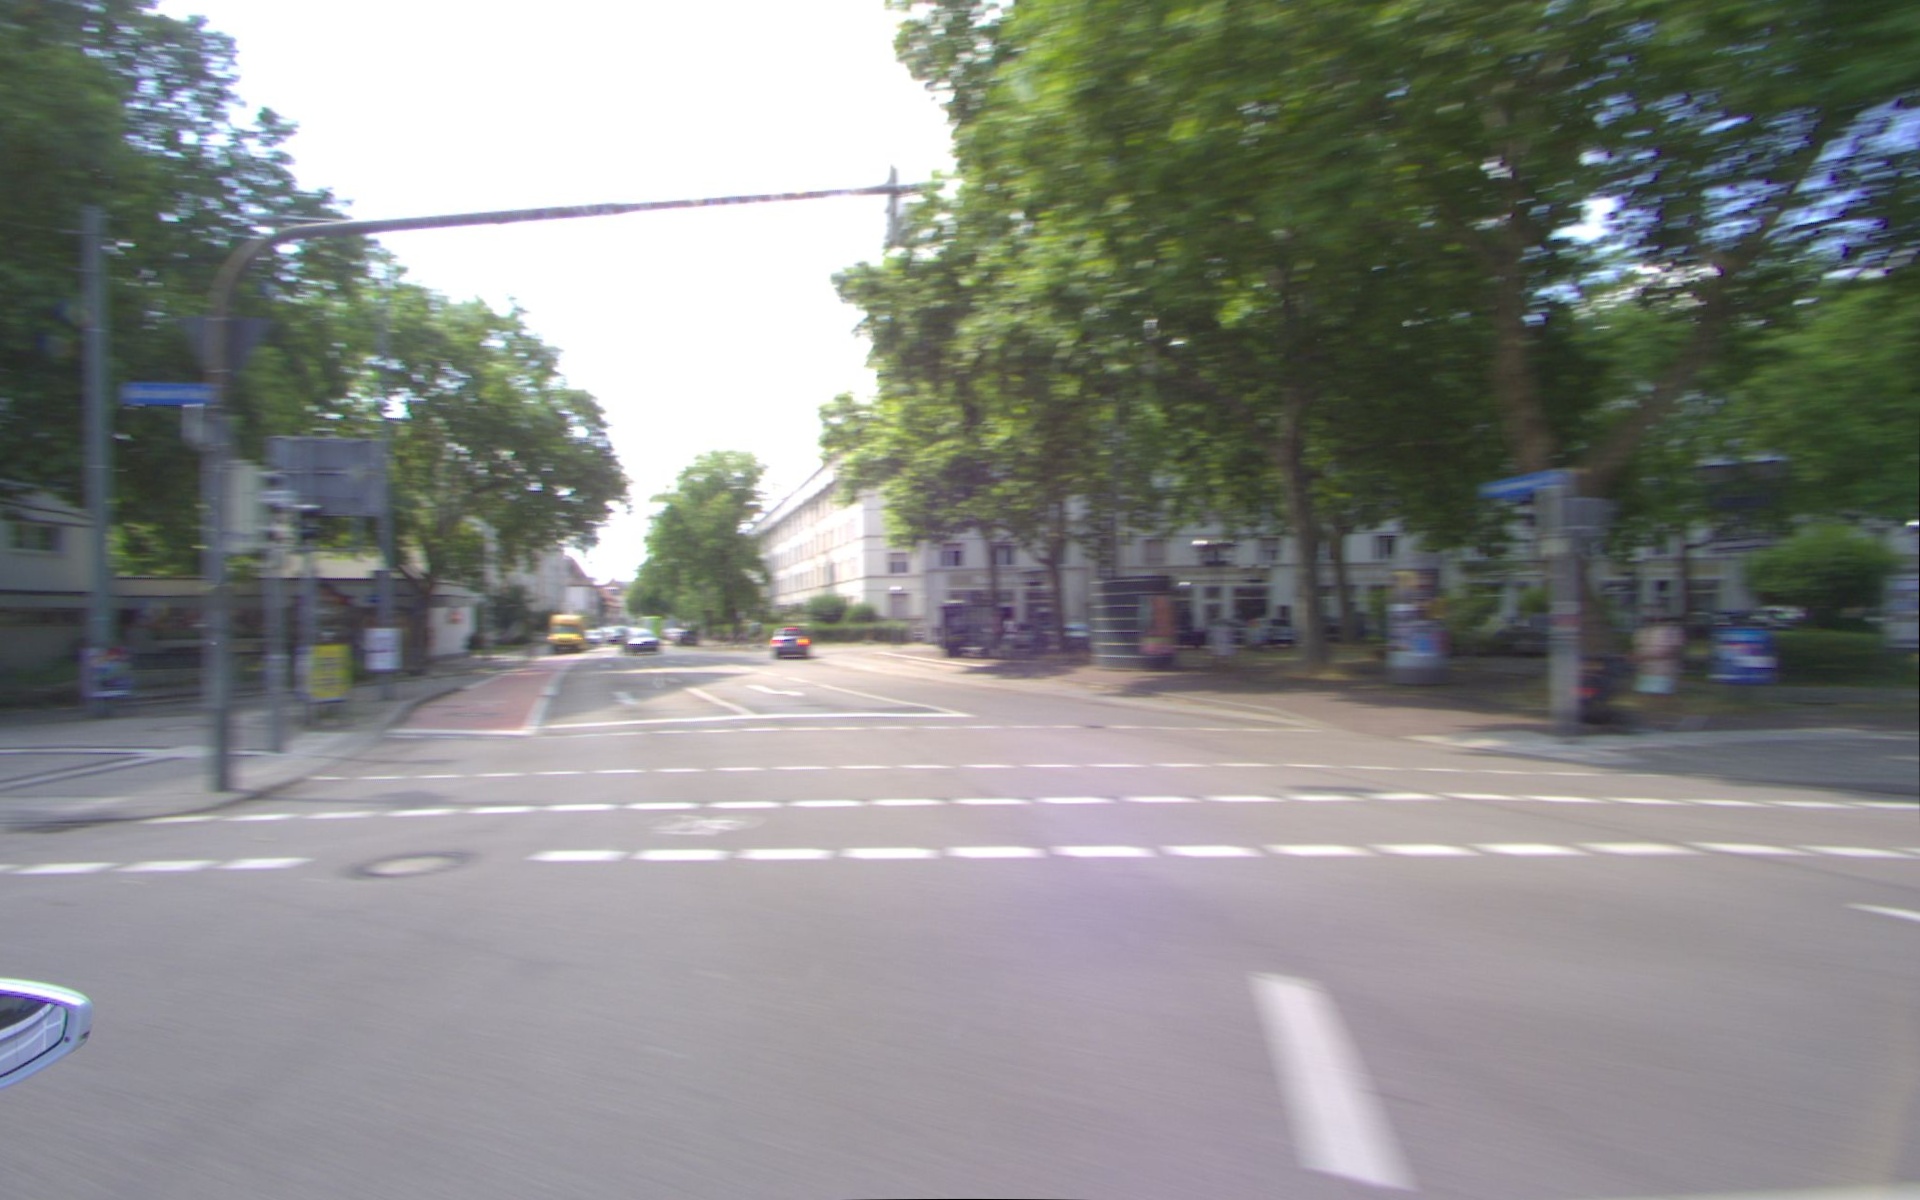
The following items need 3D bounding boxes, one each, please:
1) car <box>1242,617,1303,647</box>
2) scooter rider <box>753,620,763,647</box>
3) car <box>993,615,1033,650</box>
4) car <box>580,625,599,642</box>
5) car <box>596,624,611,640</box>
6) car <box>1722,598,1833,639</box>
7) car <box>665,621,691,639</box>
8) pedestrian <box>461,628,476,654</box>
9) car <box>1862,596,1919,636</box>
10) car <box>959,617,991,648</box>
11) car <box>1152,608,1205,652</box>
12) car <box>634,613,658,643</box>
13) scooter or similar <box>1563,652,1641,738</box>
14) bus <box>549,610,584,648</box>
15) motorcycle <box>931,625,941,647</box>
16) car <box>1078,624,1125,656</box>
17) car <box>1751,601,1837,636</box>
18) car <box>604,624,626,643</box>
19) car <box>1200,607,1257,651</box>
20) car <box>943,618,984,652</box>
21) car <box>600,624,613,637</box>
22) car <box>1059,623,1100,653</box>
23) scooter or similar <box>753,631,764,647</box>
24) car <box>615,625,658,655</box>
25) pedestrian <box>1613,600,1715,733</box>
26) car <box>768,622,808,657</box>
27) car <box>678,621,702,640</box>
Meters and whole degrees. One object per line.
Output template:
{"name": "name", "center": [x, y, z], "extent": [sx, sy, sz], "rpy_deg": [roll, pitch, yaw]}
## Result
{"name": "car", "center": [15.663, 1.598, 50.412], "extent": [1.961, 1.440, 4.001], "rpy_deg": [-1, -1, 3]}
{"name": "scooter rider", "center": [-13.913, 2.289, 69.029], "extent": [0.519, 1.836, 0.647], "rpy_deg": [-1, 0, -22]}
{"name": "car", "center": [2.695, 1.648, 51.608], "extent": [1.874, 1.712, 4.539], "rpy_deg": [-1, -1, 1]}
{"name": "car", "center": [-39.249, 3.513, 106.062], "extent": [1.704, 1.683, 3.742], "rpy_deg": [-1, 0, -18]}
{"name": "car", "center": [-46.523, 4.121, 130.648], "extent": [1.629, 1.957, 3.741], "rpy_deg": [-1, 0, -18]}
{"name": "car", "center": [40.634, 0.924, 49.922], "extent": [2.063, 1.930, 4.491], "rpy_deg": [-1, -1, 4]}
{"name": "car", "center": [-25.325, 2.682, 89.847], "extent": [1.770, 1.545, 3.667], "rpy_deg": [-1, -1, -24]}
{"name": "pedestrian", "center": [-27.979, 2.334, 56.966], "extent": [0.659, 1.498, 0.575], "rpy_deg": [0, 0, -13]}
{"name": "car", "center": [47.405, 0.783, 49.323], "extent": [2.063, 1.930, 4.491], "rpy_deg": [-1, -1, 4]}
{"name": "car", "center": [0.888, 1.967, 62.192], "extent": [1.874, 1.819, 4.721], "rpy_deg": [-1, -1, 0]}
{"name": "car", "center": [11.043, 1.494, 50.802], "extent": [1.961, 2.103, 4.000], "rpy_deg": [-1, -1, 3]}
{"name": "car", "center": [-30.088, 2.623, 95.840], "extent": [2.089, 2.676, 6.314], "rpy_deg": [-1, 0, -18]}
{"name": "scooter or similar", "center": [8.323, 1.218, 12.998], "extent": [0.695, 1.070, 0.491], "rpy_deg": [-1, 0, 4]}
{"name": "bus", "center": [-30.169, 2.193, 76.685], "extent": [2.362, 2.744, 6.351], "rpy_deg": [-1, -1, -23]}
{"name": "motorcycle", "center": [-1.460, 2.198, 61.560], "extent": [0.560, 1.259, 1.885], "rpy_deg": [-1, -1, 0]}
{"name": "car", "center": [6.534, 1.846, 46.502], "extent": [1.442, 1.407, 3.067], "rpy_deg": [-1, -1, -6]}
{"name": "car", "center": [49.755, 1.081, 59.869], "extent": [1.961, 1.989, 4.000], "rpy_deg": [-1, -1, 4]}
{"name": "car", "center": [-33.340, 3.230, 96.830], "extent": [1.835, 1.683, 3.742], "rpy_deg": [-1, 0, -18]}
{"name": "car", "center": [13.455, 1.439, 50.325], "extent": [1.961, 2.103, 4.000], "rpy_deg": [-1, -1, 3]}
{"name": "car", "center": [0.213, 1.761, 51.358], "extent": [1.995, 1.621, 4.539], "rpy_deg": [-1, -1, 1]}
{"name": "car", "center": [-48.960, 4.219, 138.740], "extent": [1.636, 1.683, 3.742], "rpy_deg": [-1, 0, -18]}
{"name": "car", "center": [5.987, 1.900, 50.483], "extent": [1.442, 1.407, 3.236], "rpy_deg": [-1, -1, -4]}
{"name": "scooter or similar", "center": [-13.899, 2.670, 69.000], "extent": [0.541, 1.106, 1.288], "rpy_deg": [-1, 0, -22]}
{"name": "car", "center": [-19.875, 2.421, 61.451], "extent": [1.766, 1.683, 4.295], "rpy_deg": [-1, 0, -29]}
{"name": "pedestrian", "center": [9.059, 0.846, 12.908], "extent": [0.905, 1.667, 0.570], "rpy_deg": [-1, 0, 4]}
{"name": "car", "center": [-8.433, 1.884, 49.016], "extent": [1.666, 1.558, 3.463], "rpy_deg": [-1, 0, -14]}
{"name": "car", "center": [-23.041, 2.566, 85.355], "extent": [1.701, 1.575, 3.625], "rpy_deg": [-1, -1, -20]}
